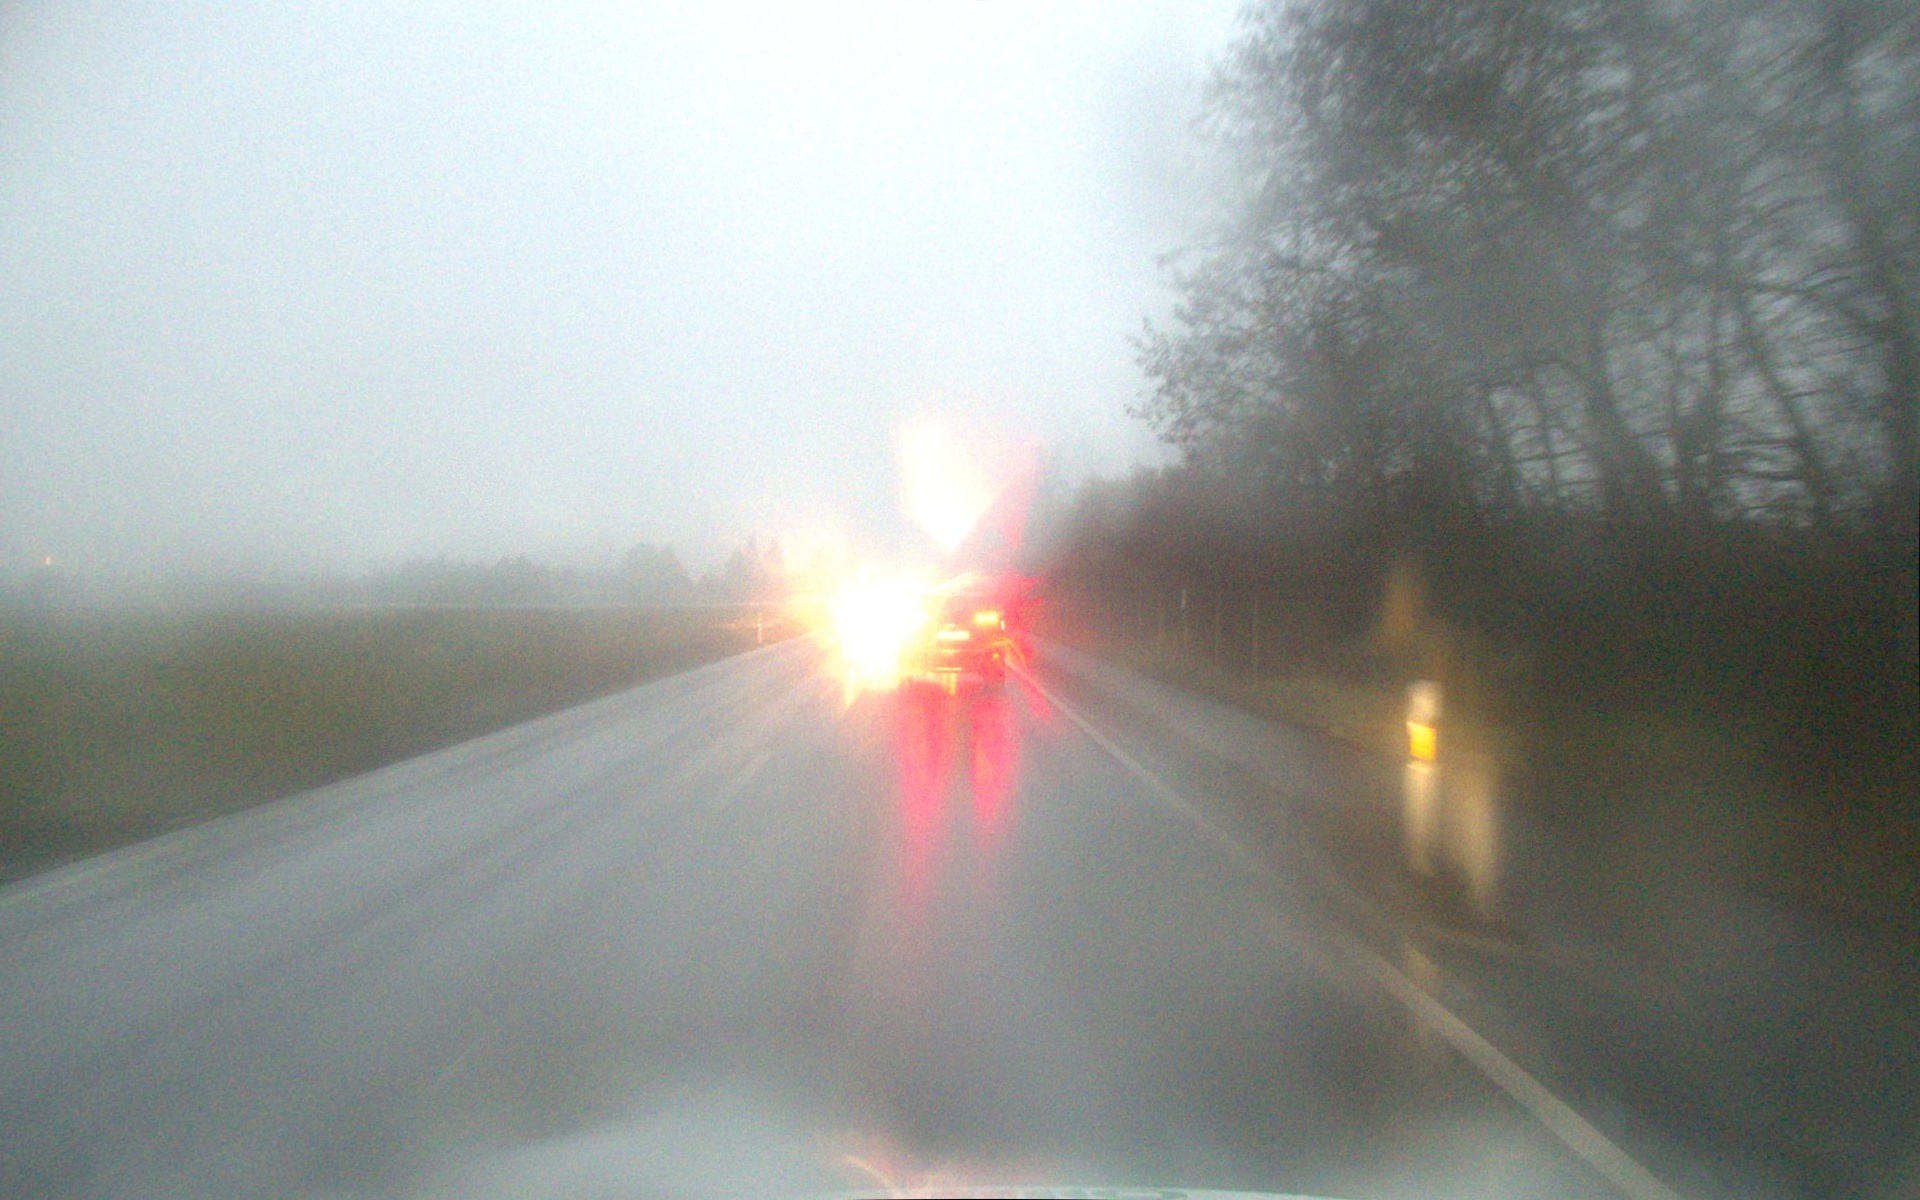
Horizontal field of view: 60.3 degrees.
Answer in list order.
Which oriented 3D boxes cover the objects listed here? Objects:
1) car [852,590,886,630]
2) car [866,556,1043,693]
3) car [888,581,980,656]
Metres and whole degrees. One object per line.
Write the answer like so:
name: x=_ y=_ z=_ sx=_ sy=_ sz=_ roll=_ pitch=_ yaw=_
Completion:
car: x=-5.133 y=0.542 z=93.565 sx=1.877 sy=2.175 sz=4.311 roll=-1 pitch=0 yaw=-3
car: x=-0.095 y=0.399 z=29.159 sx=2.763 sy=2.113 sz=5.803 roll=1 pitch=0 yaw=0
car: x=-0.742 y=0.531 z=49.643 sx=2.539 sy=2.049 sz=5.803 roll=1 pitch=0 yaw=0
